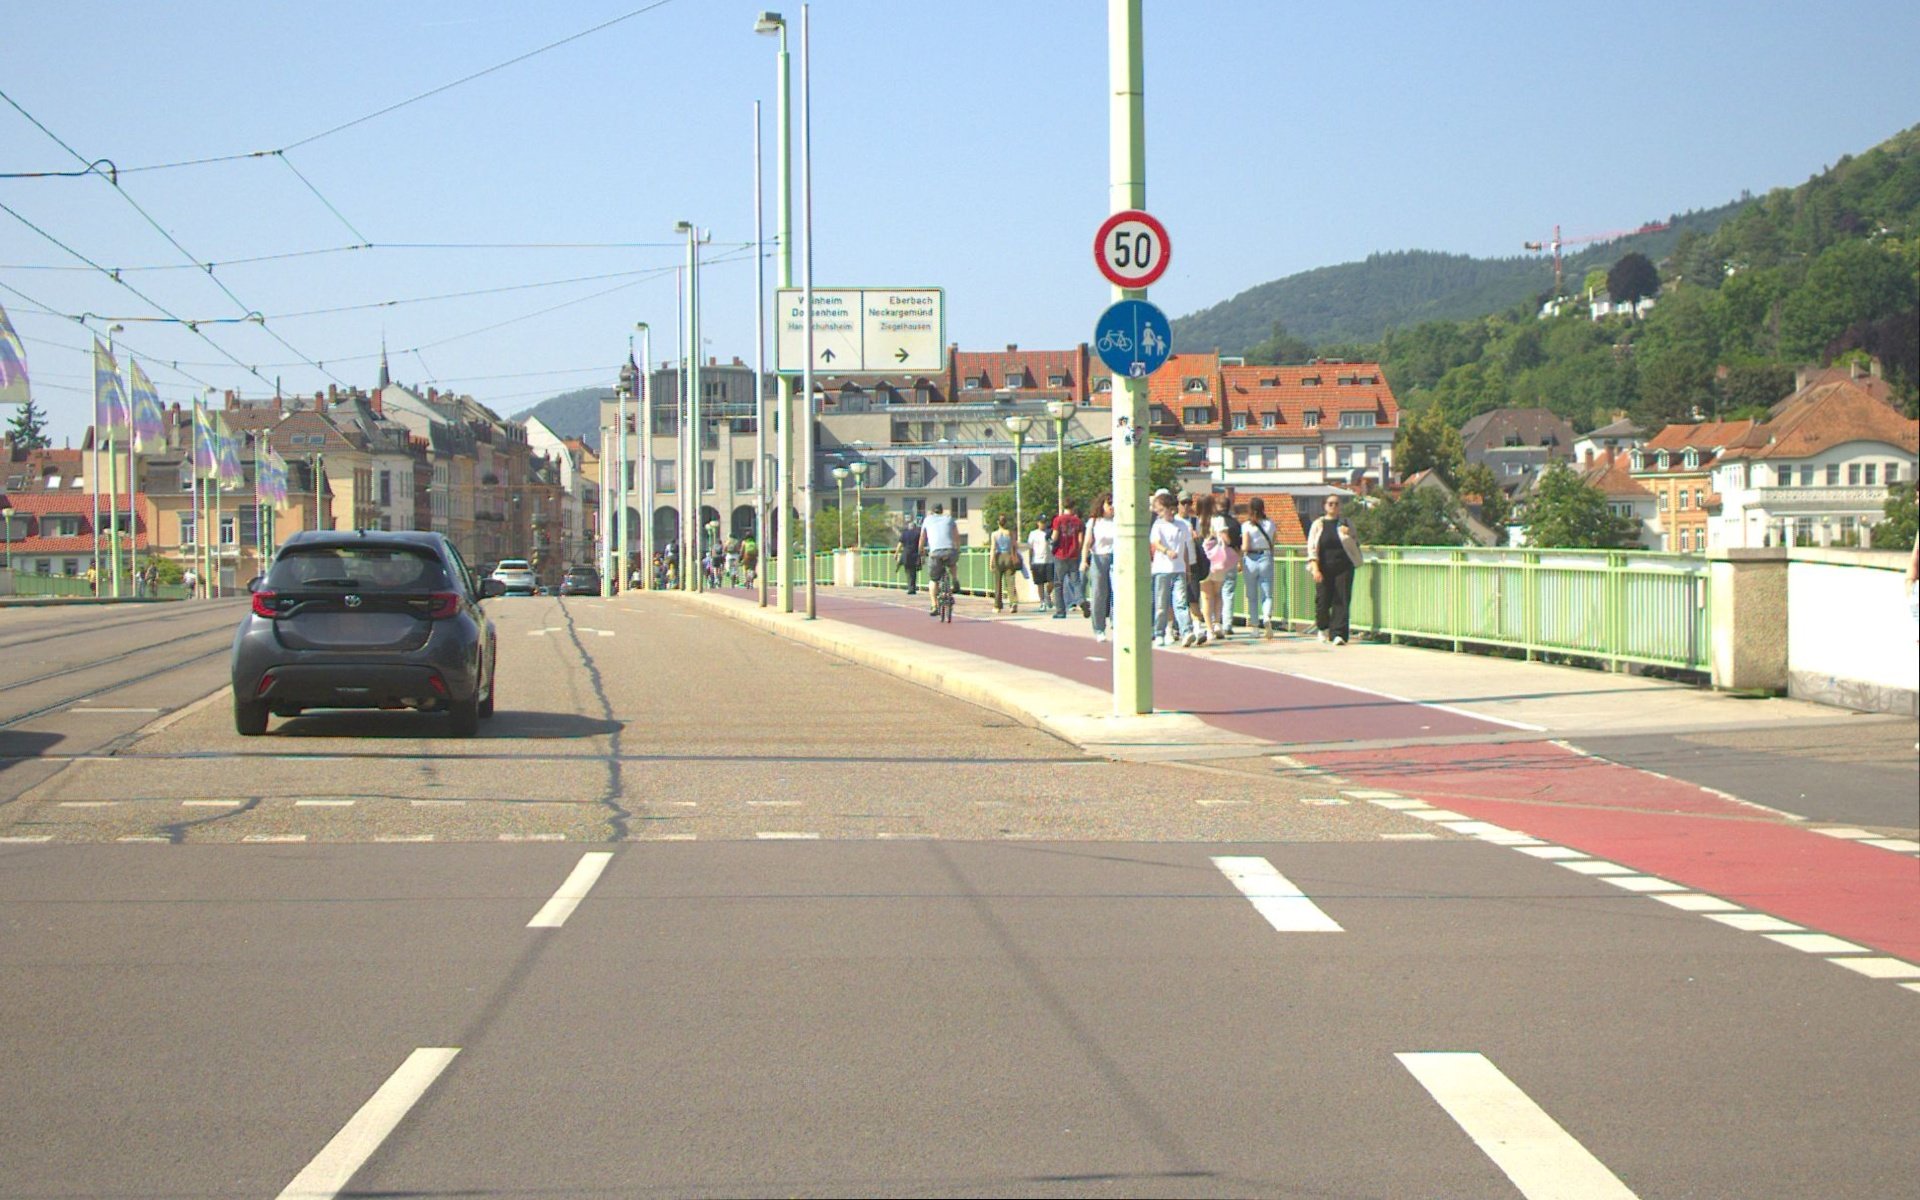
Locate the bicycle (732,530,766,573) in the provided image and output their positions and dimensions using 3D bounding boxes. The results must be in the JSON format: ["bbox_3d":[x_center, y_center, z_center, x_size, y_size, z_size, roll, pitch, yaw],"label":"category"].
[{"bbox_3d":[-6.144,-1.406,99.901,0.695,1.189,2.080,-1,0,-11],"label":"bicycle"}]

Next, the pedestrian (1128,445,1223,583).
[{"bbox_3d":[2.989,-1.181,47.764,0.984,1.888,1.254,-1,0,-13],"label":"pedestrian"}]

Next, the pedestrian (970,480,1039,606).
[{"bbox_3d":[0.718,-0.922,55.715,0.873,2.007,1.059,-1,0,-13],"label":"pedestrian"}]

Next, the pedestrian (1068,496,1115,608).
[{"bbox_3d":[1.956,-0.714,51.150,0.522,1.643,0.700,-1,0,-13],"label":"pedestrian"}]

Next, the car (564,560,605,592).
[{"bbox_3d":[-17.993,-1.156,164.749,1.803,1.464,4.001,-2,0,-5],"label":"car"}]

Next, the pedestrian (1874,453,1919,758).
[{"bbox_3d":[6.111,0.025,21.132,0.773,1.849,0.644,0,1,-4],"label":"pedestrian"}]

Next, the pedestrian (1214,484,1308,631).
[{"bbox_3d":[3.475,-0.488,39.744,0.833,1.671,0.886,-1,0,-13],"label":"pedestrian"}]

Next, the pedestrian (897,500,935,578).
[{"bbox_3d":[-0.998,-1.383,77.922,0.654,1.738,0.979,-1,2,-13],"label":"pedestrian"}]

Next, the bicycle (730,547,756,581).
[{"bbox_3d":[-6.735,-1.105,106.679,0.618,1.034,2.051,-1,0,-9],"label":"bicycle"}]

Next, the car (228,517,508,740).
[{"bbox_3d":[-4.472,0.164,26.053,1.909,1.535,4.001,1,1,-10],"label":"car"}]

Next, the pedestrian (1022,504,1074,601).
[{"bbox_3d":[1.438,-0.776,56.112,0.649,1.557,0.692,-2,1,-14],"label":"pedestrian"}]

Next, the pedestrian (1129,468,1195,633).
[{"bbox_3d":[2.220,-0.541,37.780,0.549,1.793,0.646,-1,0,-13],"label":"pedestrian"}]

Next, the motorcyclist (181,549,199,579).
[{"bbox_3d":[-40.338,-1.879,180.115,0.800,1.544,1.069,-1,0,-8],"label":"motorcyclist"}]

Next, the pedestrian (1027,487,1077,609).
[{"bbox_3d":[1.365,-0.771,51.031,0.585,1.787,0.632,-1,0,-12],"label":"pedestrian"}]

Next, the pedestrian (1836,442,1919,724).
[{"bbox_3d":[5.898,-0.114,21.721,0.534,1.754,0.577,0,1,-4],"label":"pedestrian"}]

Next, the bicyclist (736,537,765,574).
[{"bbox_3d":[-6.070,-1.291,99.392,0.666,1.041,0.981,0,1,-13],"label":"bicyclist"}]

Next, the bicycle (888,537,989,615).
[{"bbox_3d":[-0.343,-0.376,50.720,0.792,1.092,3.746,0,1,-11],"label":"bicycle"}]

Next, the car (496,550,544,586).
[{"bbox_3d":[-18.693,-1.347,145.837,1.803,1.464,4.001,-2,0,-10],"label":"car"}]

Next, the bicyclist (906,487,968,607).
[{"bbox_3d":[-0.344,-0.779,50.713,0.673,1.738,1.151,-1,1,-11],"label":"bicyclist"}]

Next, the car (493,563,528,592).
[{"bbox_3d":[-27.129,-1.346,207.422,1.993,1.711,4.001,-1,0,-9],"label":"car"}]

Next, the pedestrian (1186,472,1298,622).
[{"bbox_3d":[3.413,-0.647,41.757,0.984,1.763,1.255,-2,1,-13],"label":"pedestrian"}]

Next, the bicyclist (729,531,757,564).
[{"bbox_3d":[-6.739,-1.621,106.624,0.735,1.027,1.176,-1,0,-9],"label":"bicyclist"}]

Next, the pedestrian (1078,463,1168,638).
[{"bbox_3d":[1.895,-0.577,40.000,0.803,2.007,0.954,-1,0,-13],"label":"pedestrian"}]

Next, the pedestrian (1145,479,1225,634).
[{"bbox_3d":[2.505,-0.482,38.363,0.695,1.710,0.732,-1,0,-13],"label":"pedestrian"}]

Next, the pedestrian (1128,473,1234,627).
[{"bbox_3d":[2.540,-0.569,39.589,0.984,1.744,0.930,-1,0,-13],"label":"pedestrian"}]

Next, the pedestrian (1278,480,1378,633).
[{"bbox_3d":[3.992,-0.477,37.371,0.799,1.629,0.950,-1,1,-13],"label":"pedestrian"}]
